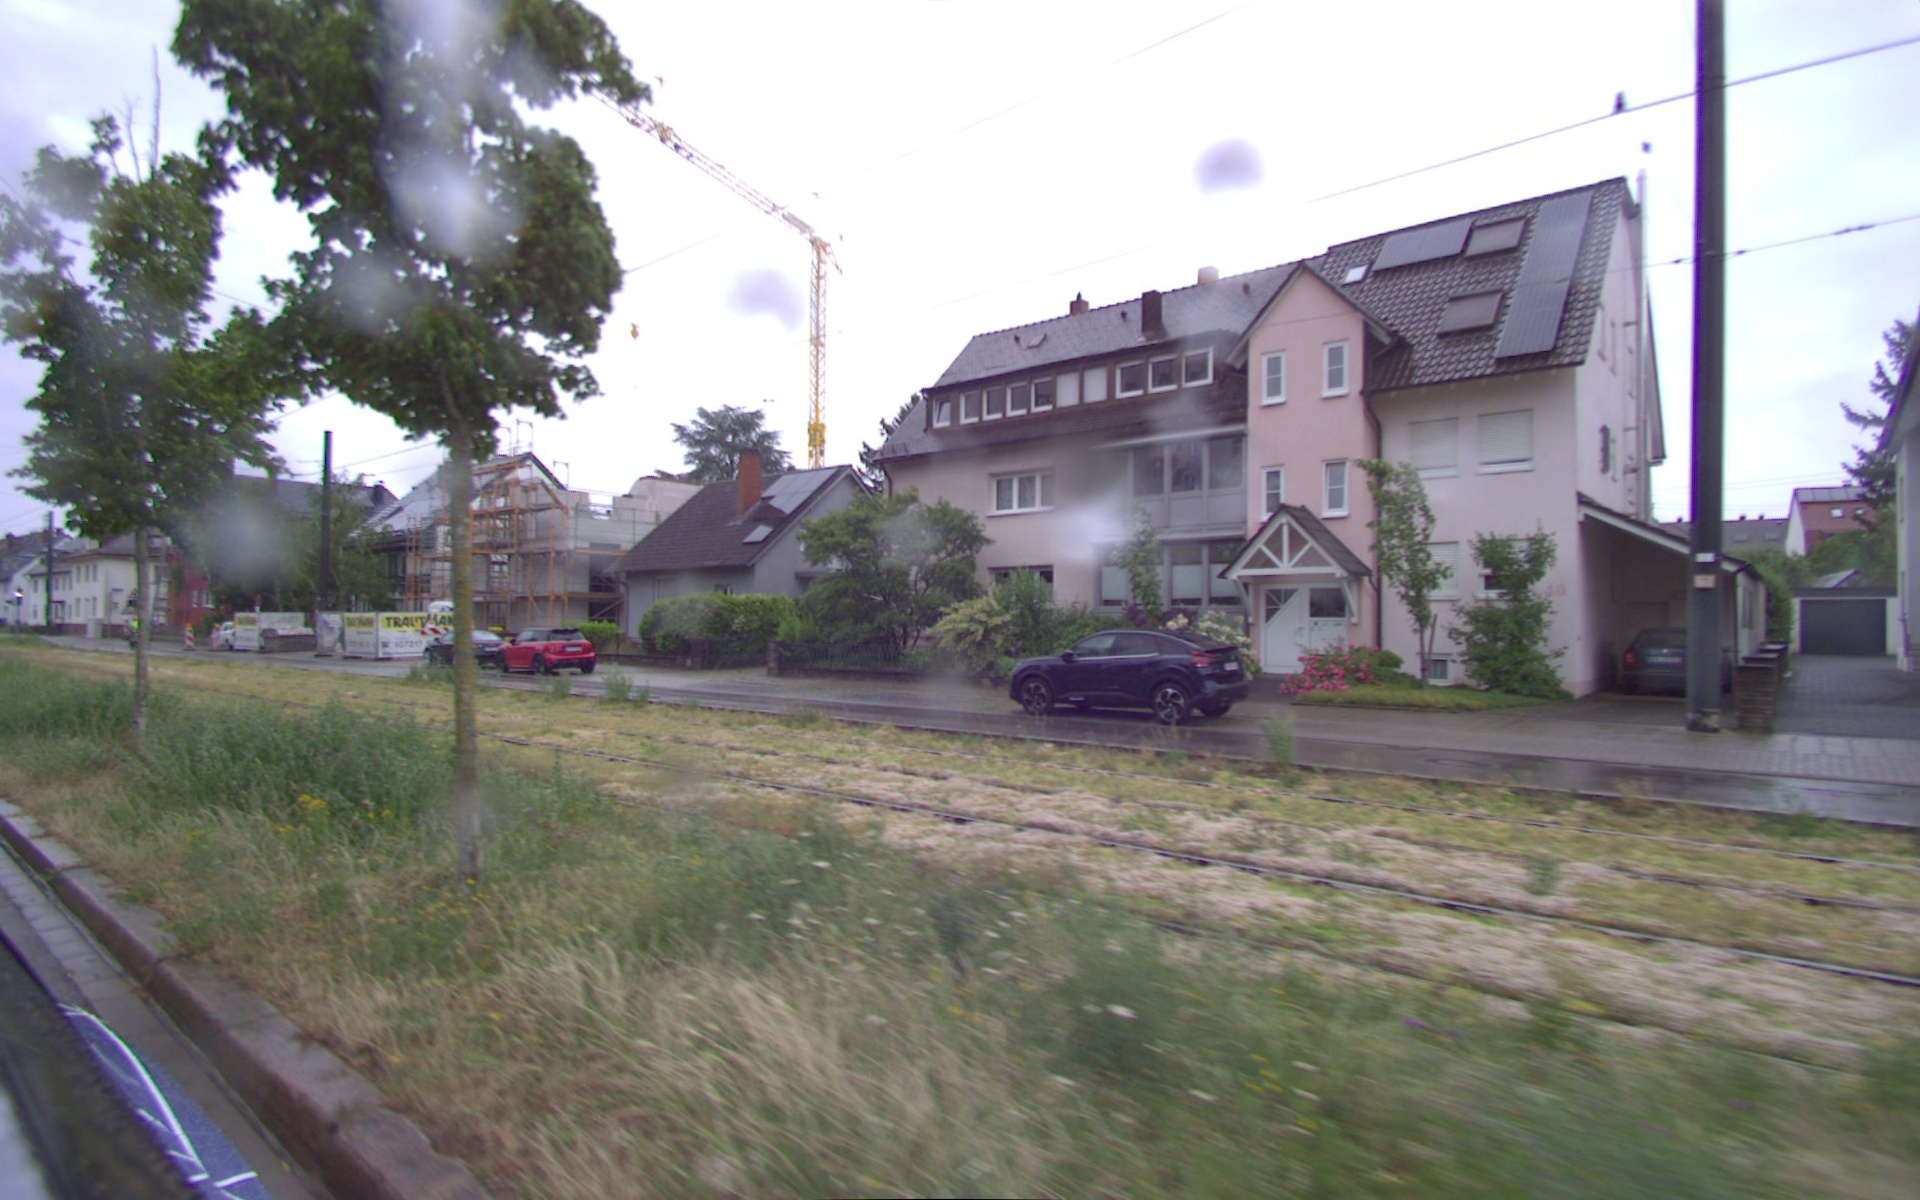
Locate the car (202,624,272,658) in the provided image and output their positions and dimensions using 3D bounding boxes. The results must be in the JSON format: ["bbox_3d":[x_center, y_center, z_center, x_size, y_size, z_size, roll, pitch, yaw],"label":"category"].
[{"bbox_3d":[-38.892,2.172,54.399,4.245,1.640,1.974,0,0,38],"label":"car"}]

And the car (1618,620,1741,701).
[{"bbox_3d":[15.642,1.227,21.923,1.841,1.512,3.946,0,0,40],"label":"car"}]

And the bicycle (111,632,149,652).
[{"bbox_3d":[-45.678,2.315,55.658,3.430,1.051,0.925,-1,-2,39],"label":"bicycle"}]

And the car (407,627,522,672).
[{"bbox_3d":[-16.963,1.674,34.575,4.170,1.420,1.974,-3,-2,40],"label":"car"}]

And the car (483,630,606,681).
[{"bbox_3d":[-12.869,1.663,31.282,3.840,1.383,1.974,0,0,40],"label":"car"}]

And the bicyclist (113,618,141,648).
[{"bbox_3d":[-46.082,1.802,55.985,1.399,1.596,0.944,0,-1,40],"label":"bicyclist"}]

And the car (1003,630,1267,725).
[{"bbox_3d":[2.950,1.257,17.581,4.170,1.437,1.818,-2,-2,40],"label":"car"}]
